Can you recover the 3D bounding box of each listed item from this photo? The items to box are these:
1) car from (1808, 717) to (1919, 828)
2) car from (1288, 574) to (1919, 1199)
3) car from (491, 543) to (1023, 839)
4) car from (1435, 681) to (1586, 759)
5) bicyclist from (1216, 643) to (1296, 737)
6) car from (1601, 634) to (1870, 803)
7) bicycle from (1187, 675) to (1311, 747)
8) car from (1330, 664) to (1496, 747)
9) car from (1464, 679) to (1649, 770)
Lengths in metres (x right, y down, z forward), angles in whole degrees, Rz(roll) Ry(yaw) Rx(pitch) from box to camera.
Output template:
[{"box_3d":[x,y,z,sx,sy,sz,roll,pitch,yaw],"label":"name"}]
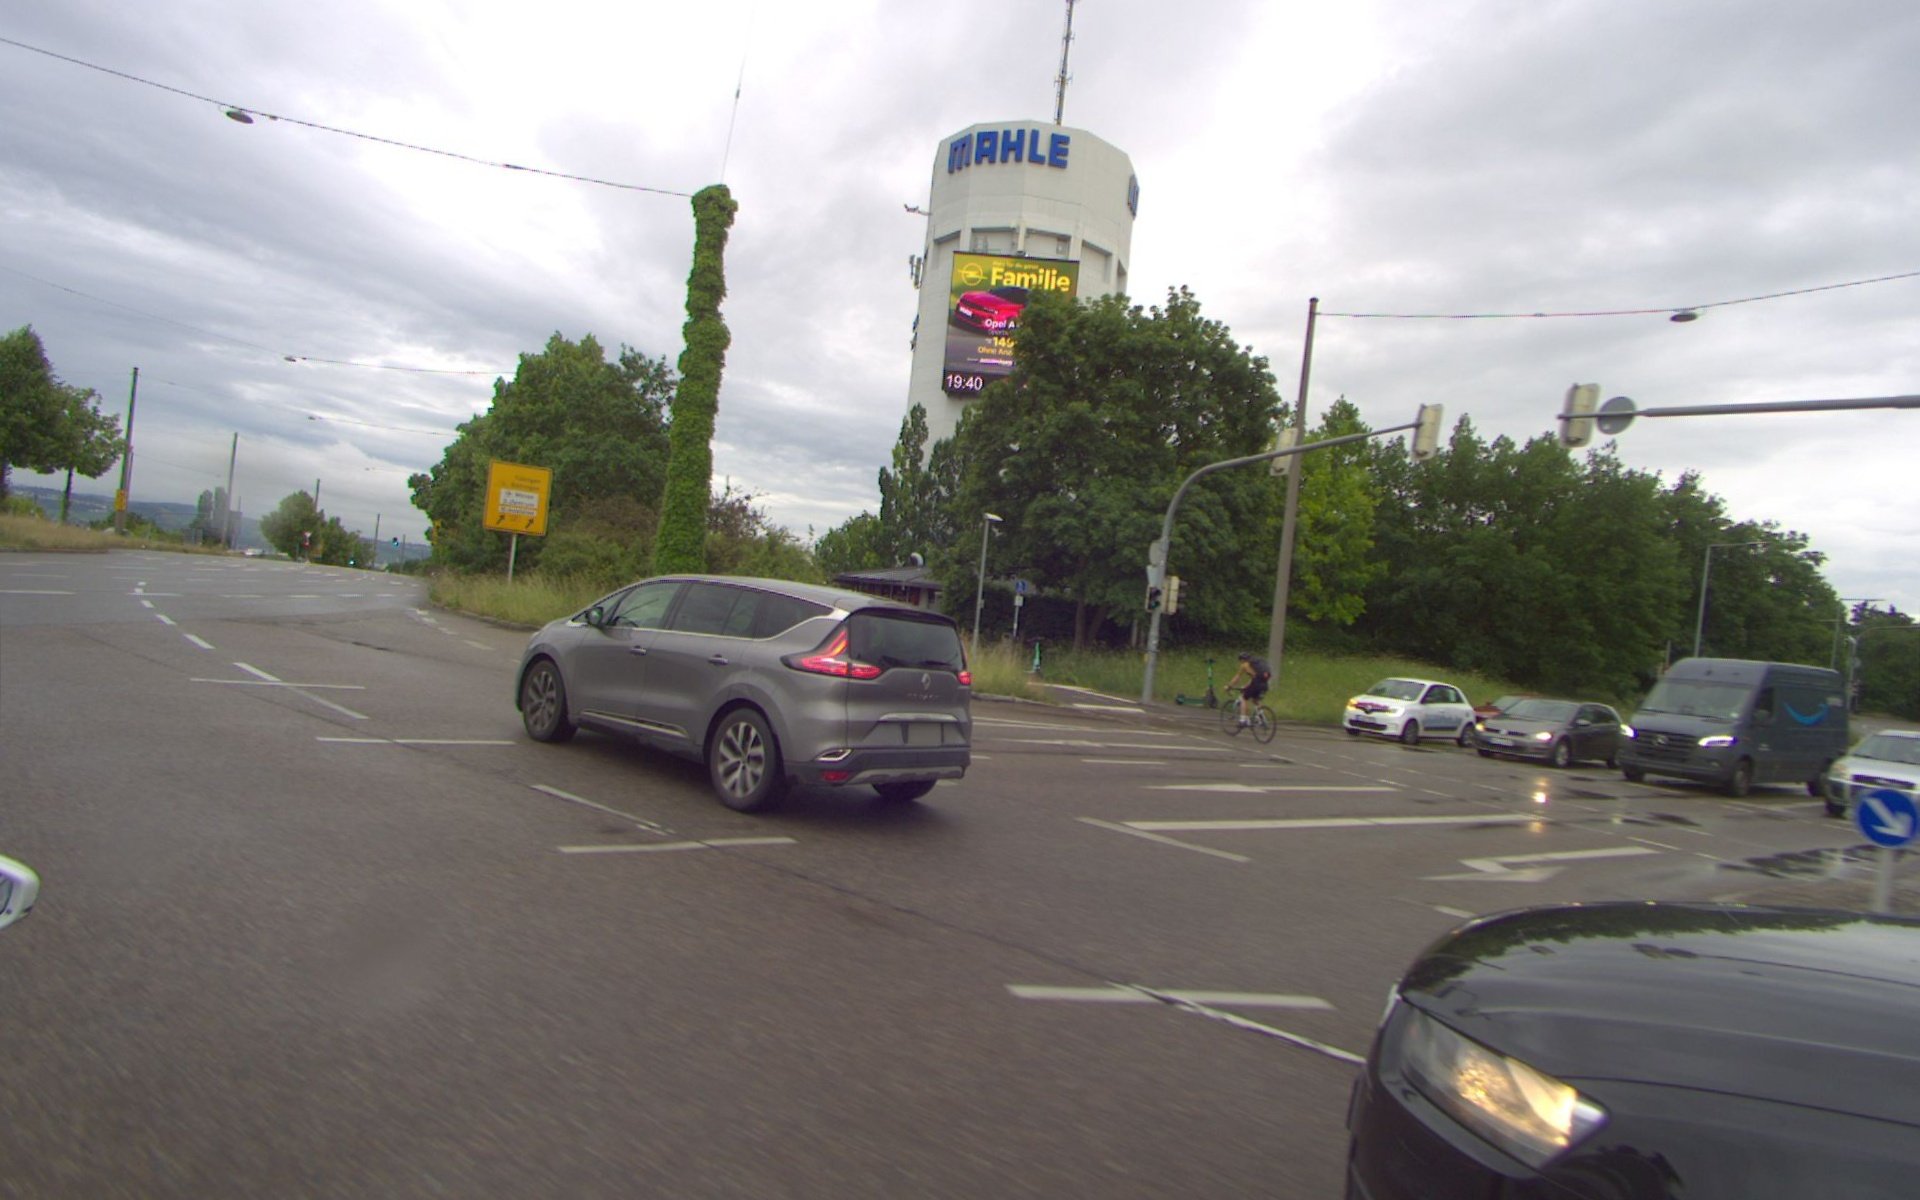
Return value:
[{"box_3d":[16.470,3.008,17.226,4.023,1.586,1.856,8,-3,-33],"label":"car"},{"box_3d":[2.783,1.041,1.404,4.048,1.614,1.886,7,-1,34],"label":"car"},{"box_3d":[-1.905,0.591,8.534,4.499,1.694,1.864,6,-2,39],"label":"car"},{"box_3d":[15.519,3.394,28.282,4.526,1.694,1.853,8,-2,-36],"label":"car"},{"box_3d":[5.631,1.703,19.175,0.803,1.602,1.015,8,-2,-29],"label":"bicyclist"},{"box_3d":[15.661,2.434,20.209,5.966,2.772,2.066,8,-2,-30],"label":"car"},{"box_3d":[5.464,2.092,19.224,0.802,1.035,2.312,6,0,-29],"label":"bicycle"},{"box_3d":[11.253,2.624,24.928,4.108,1.582,1.853,8,-2,-36],"label":"car"},{"box_3d":[13.317,2.791,22.385,4.339,1.537,1.715,8,-2,-33],"label":"car"}]
